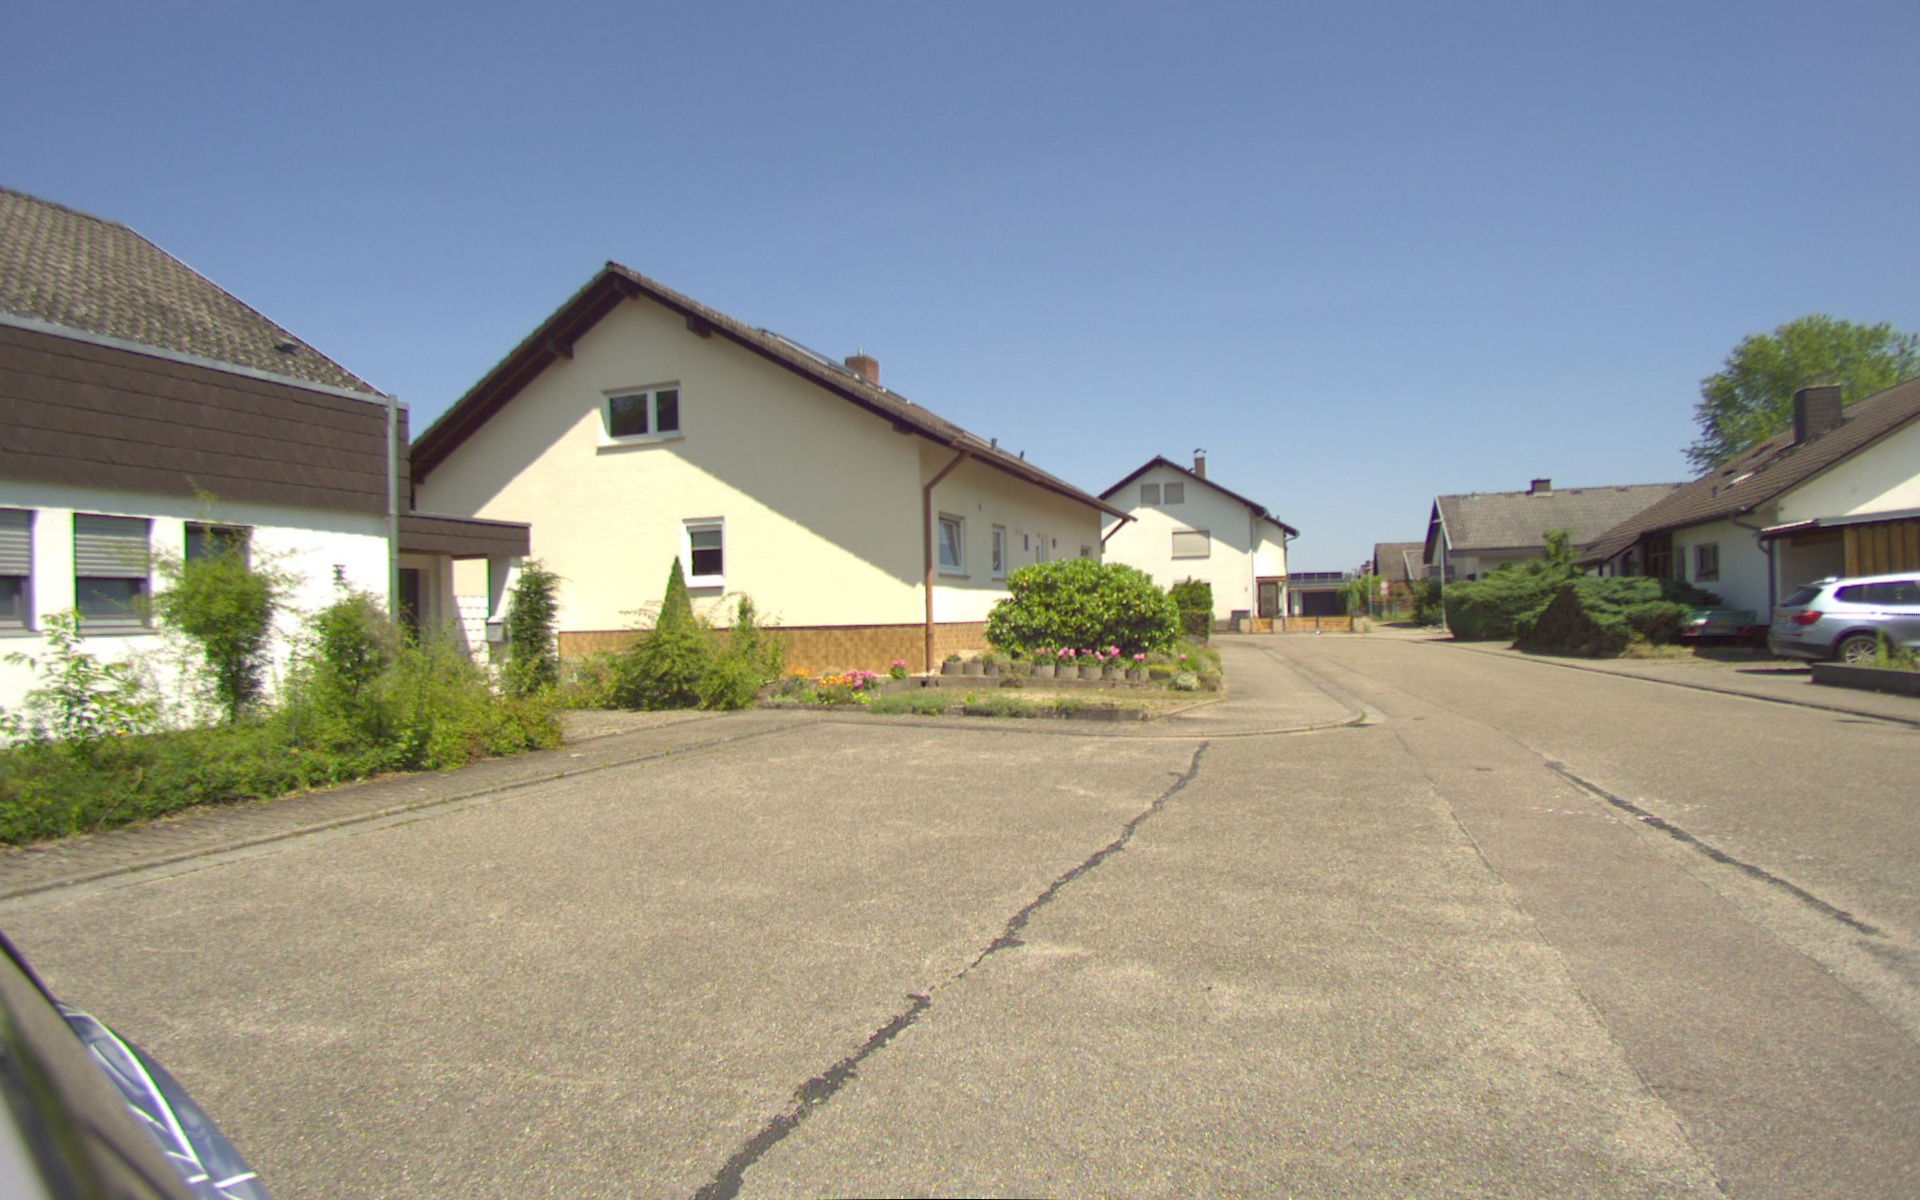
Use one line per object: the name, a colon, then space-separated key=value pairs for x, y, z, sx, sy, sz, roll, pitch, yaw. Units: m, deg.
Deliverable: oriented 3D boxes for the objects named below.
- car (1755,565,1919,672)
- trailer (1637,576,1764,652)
car: x=16.854 y=0.248 z=17.393 sx=4.613 sy=1.715 sz=1.696 roll=-4 pitch=-2 yaw=24
trailer: x=18.170 y=0.320 z=24.983 sx=1.580 sy=1.685 sz=3.274 roll=-4 pitch=-1 yaw=20
